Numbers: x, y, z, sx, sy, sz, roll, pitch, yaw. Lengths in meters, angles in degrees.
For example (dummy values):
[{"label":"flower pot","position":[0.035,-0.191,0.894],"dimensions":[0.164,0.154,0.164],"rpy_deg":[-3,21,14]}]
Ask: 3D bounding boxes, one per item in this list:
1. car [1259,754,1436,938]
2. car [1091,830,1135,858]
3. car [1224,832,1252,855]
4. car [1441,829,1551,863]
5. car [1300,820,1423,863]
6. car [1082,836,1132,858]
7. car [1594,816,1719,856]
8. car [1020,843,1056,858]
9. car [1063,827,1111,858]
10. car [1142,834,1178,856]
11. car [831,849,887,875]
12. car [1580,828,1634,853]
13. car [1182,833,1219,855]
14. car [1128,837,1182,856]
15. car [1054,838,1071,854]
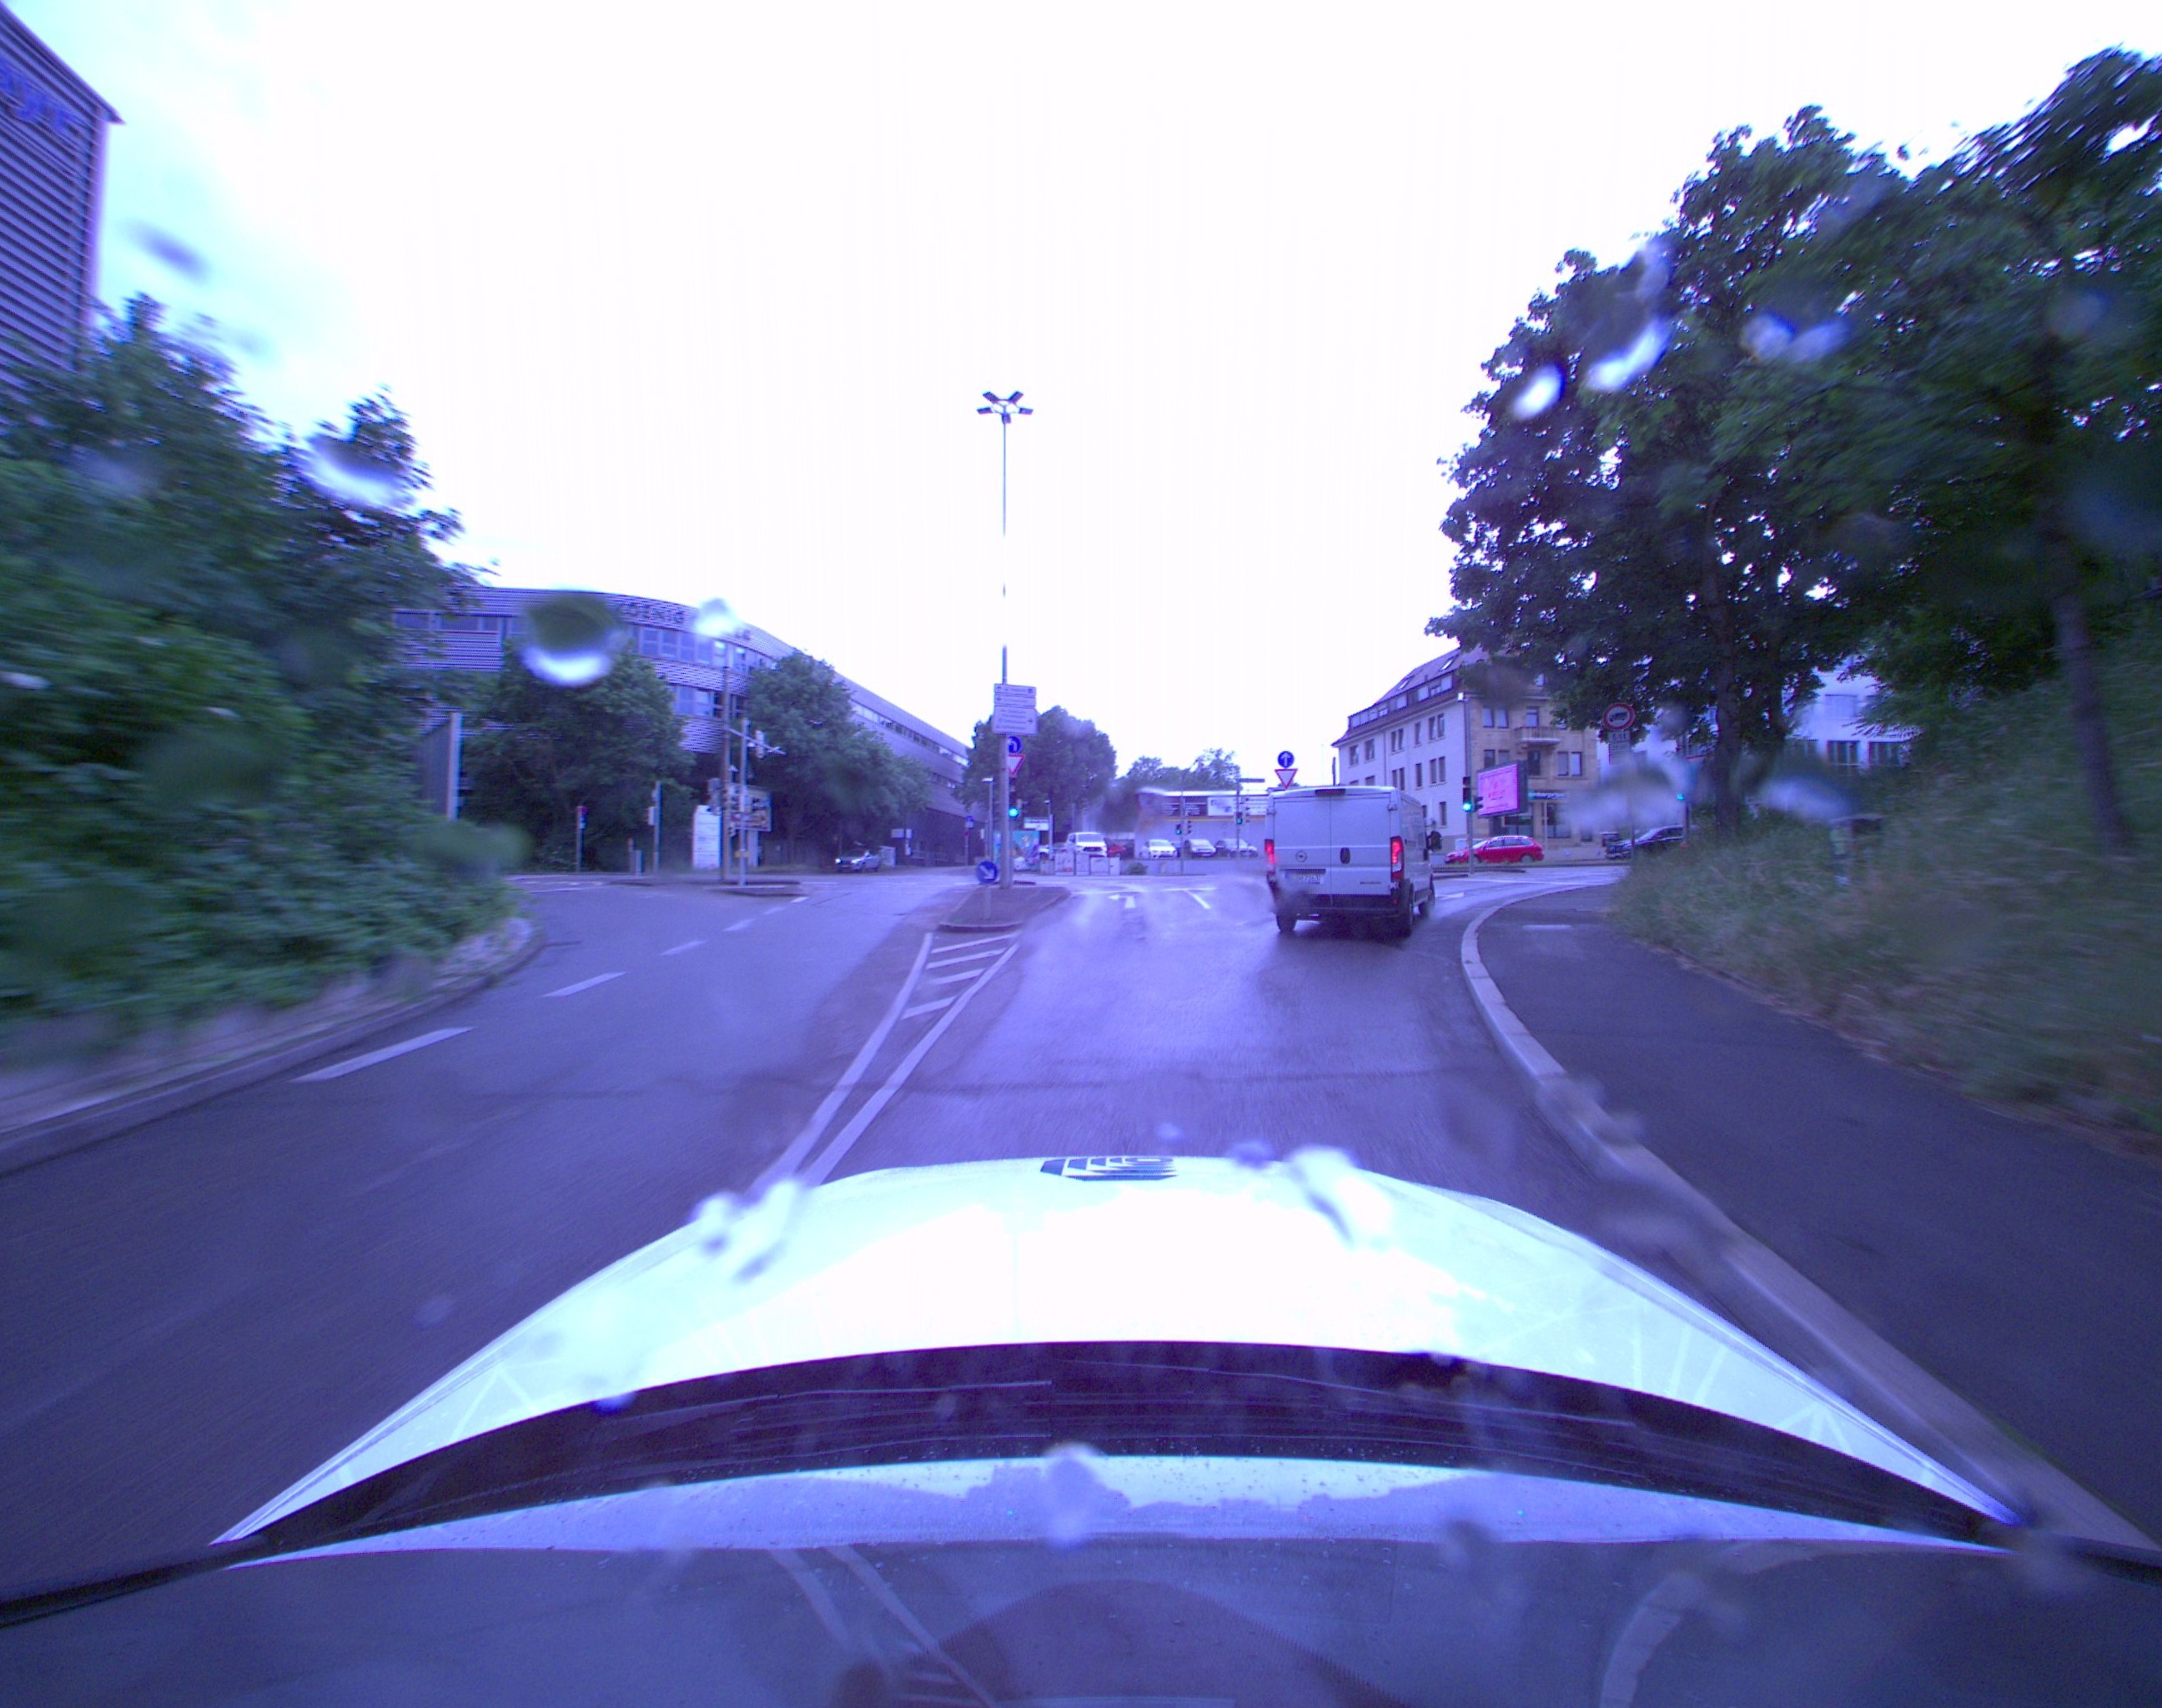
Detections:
[{"label":"car","position":[4.710,-0.209,13.802],"dimensions":[2.031,2.516,4.974],"rpy_deg":[0,2,28]},{"label":"car","position":[2.908,-0.919,74.655],"dimensions":[3.956,2.498,1.655],"rpy_deg":[0,-2,4]},{"label":"car","position":[10.131,-0.710,52.633],"dimensions":[1.220,1.424,2.684],"rpy_deg":[-1,1,-3]},{"label":"car","position":[19.813,-0.373,38.983],"dimensions":[4.417,1.531,1.810],"rpy_deg":[0,-2,-4]},{"label":"car","position":[13.299,-0.552,38.751],"dimensions":[5.140,1.819,1.938],"rpy_deg":[-2,-2,-3]},{"label":"car","position":[2.294,-0.619,71.302],"dimensions":[4.278,1.861,1.742],"rpy_deg":[0,-2,3]},{"label":"car","position":[27.569,-0.839,39.113],"dimensions":[4.599,1.697,1.959],"rpy_deg":[-2,-2,-3]},{"label":"car","position":[-3.351,-0.262,63.316],"dimensions":[2.711,1.105,1.194],"rpy_deg":[0,-2,-8]},{"label":"car","position":[0.315,-0.689,53.087],"dimensions":[2.213,1.802,5.353],"rpy_deg":[0,-2,-10]},{"label":"car","position":[5.124,-0.621,53.261],"dimensions":[1.862,1.368,3.620],"rpy_deg":[-1,1,-3]},{"label":"car","position":[-15.201,0.522,56.098],"dimensions":[2.015,1.599,4.394],"rpy_deg":[0,1,10]},{"label":"car","position":[38.309,-0.963,59.397],"dimensions":[1.709,1.676,3.044],"rpy_deg":[0,-2,-7]},{"label":"car","position":[7.648,-0.639,52.392],"dimensions":[1.732,1.368,3.620],"rpy_deg":[-1,1,-3]},{"label":"car","position":[6.106,-0.596,66.778],"dimensions":[4.302,1.407,1.376],"rpy_deg":[-2,-2,7]},{"label":"car","position":[-1.680,-0.725,74.396],"dimensions":[1.202,1.303,2.342],"rpy_deg":[0,-2,6]}]
